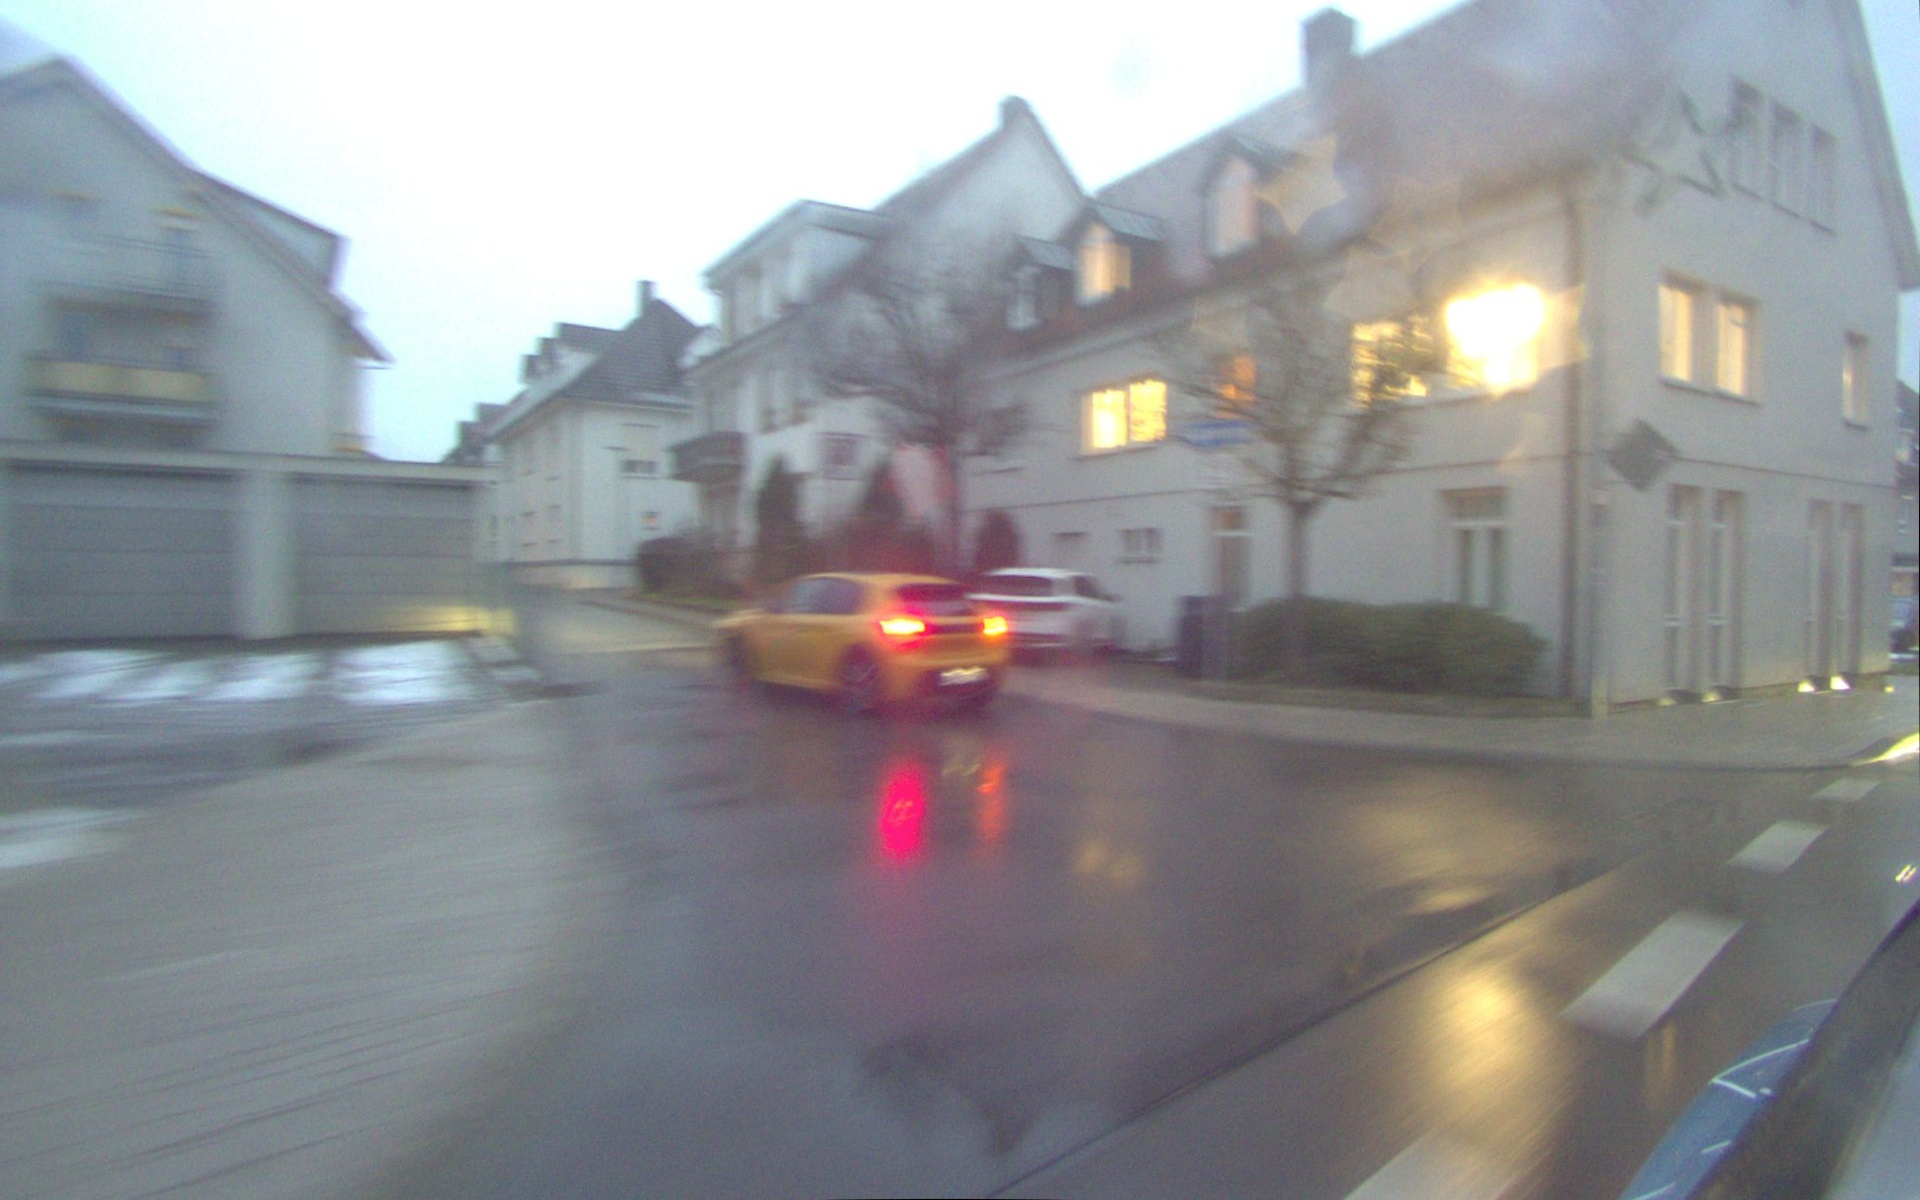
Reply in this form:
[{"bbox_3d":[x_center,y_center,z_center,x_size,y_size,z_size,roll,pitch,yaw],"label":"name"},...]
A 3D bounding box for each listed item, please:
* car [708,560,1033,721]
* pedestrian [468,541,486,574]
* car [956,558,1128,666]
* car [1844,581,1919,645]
[{"bbox_3d":[-1.131,0.323,11.382,1.746,1.465,3.721,0,2,-42],"label":"car"},{"bbox_3d":[-24.695,-2.183,51.739,0.762,1.681,0.651,1,2,-30],"label":"pedestrian"},{"bbox_3d":[1.496,0.131,16.741,1.773,1.486,4.197,2,1,20],"label":"car"},{"bbox_3d":[29.742,0.392,31.882,4.161,1.845,1.788,1,1,-34],"label":"car"}]
